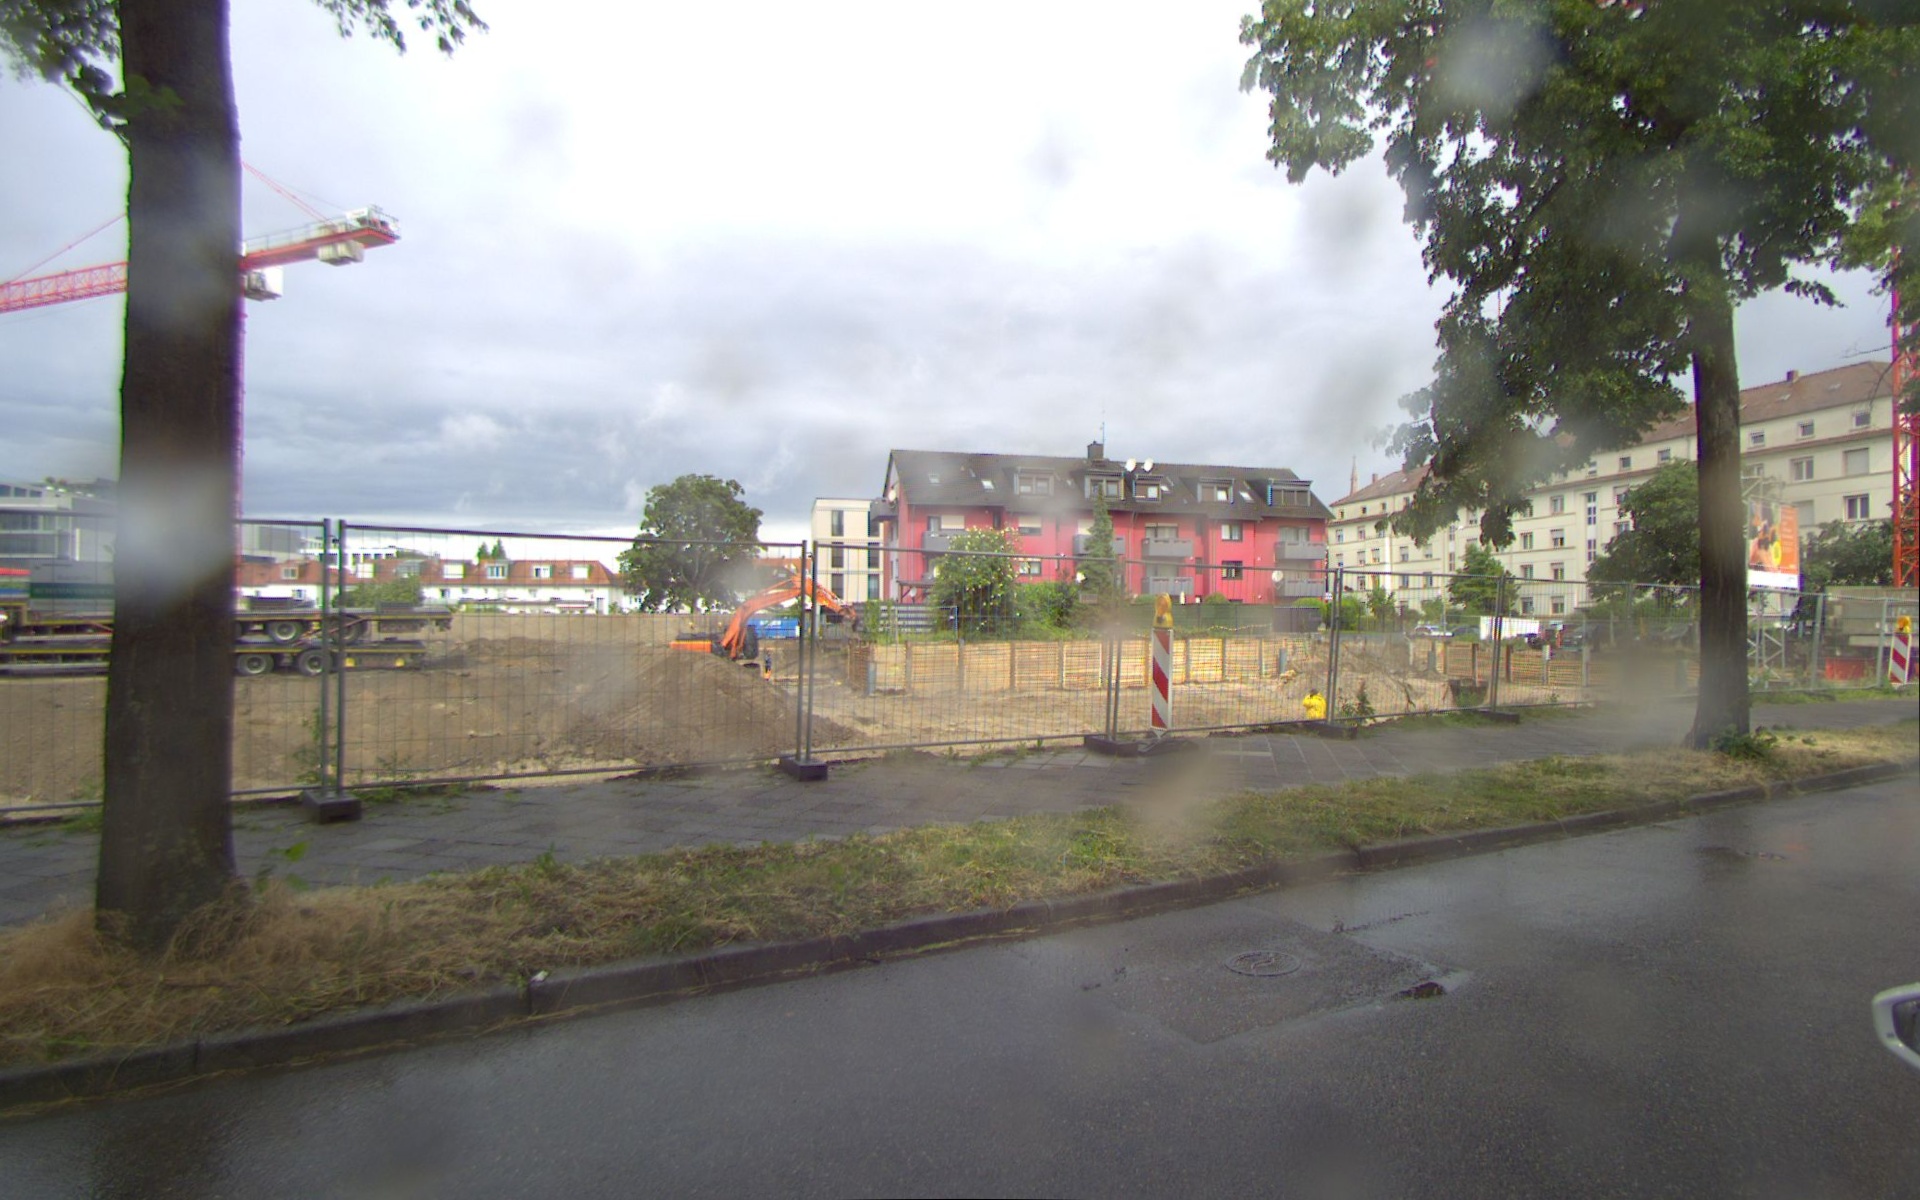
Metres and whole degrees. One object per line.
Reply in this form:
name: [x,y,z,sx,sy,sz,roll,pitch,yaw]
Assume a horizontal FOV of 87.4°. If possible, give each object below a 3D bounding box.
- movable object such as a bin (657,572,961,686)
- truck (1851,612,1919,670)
movable object such as a bin: [-8.443,1.543,58.371,16.430,6.125,6.885,0,0,-6]
truck: [46.488,1.892,46.004,2.773,2.692,8.198,0,0,-22]
